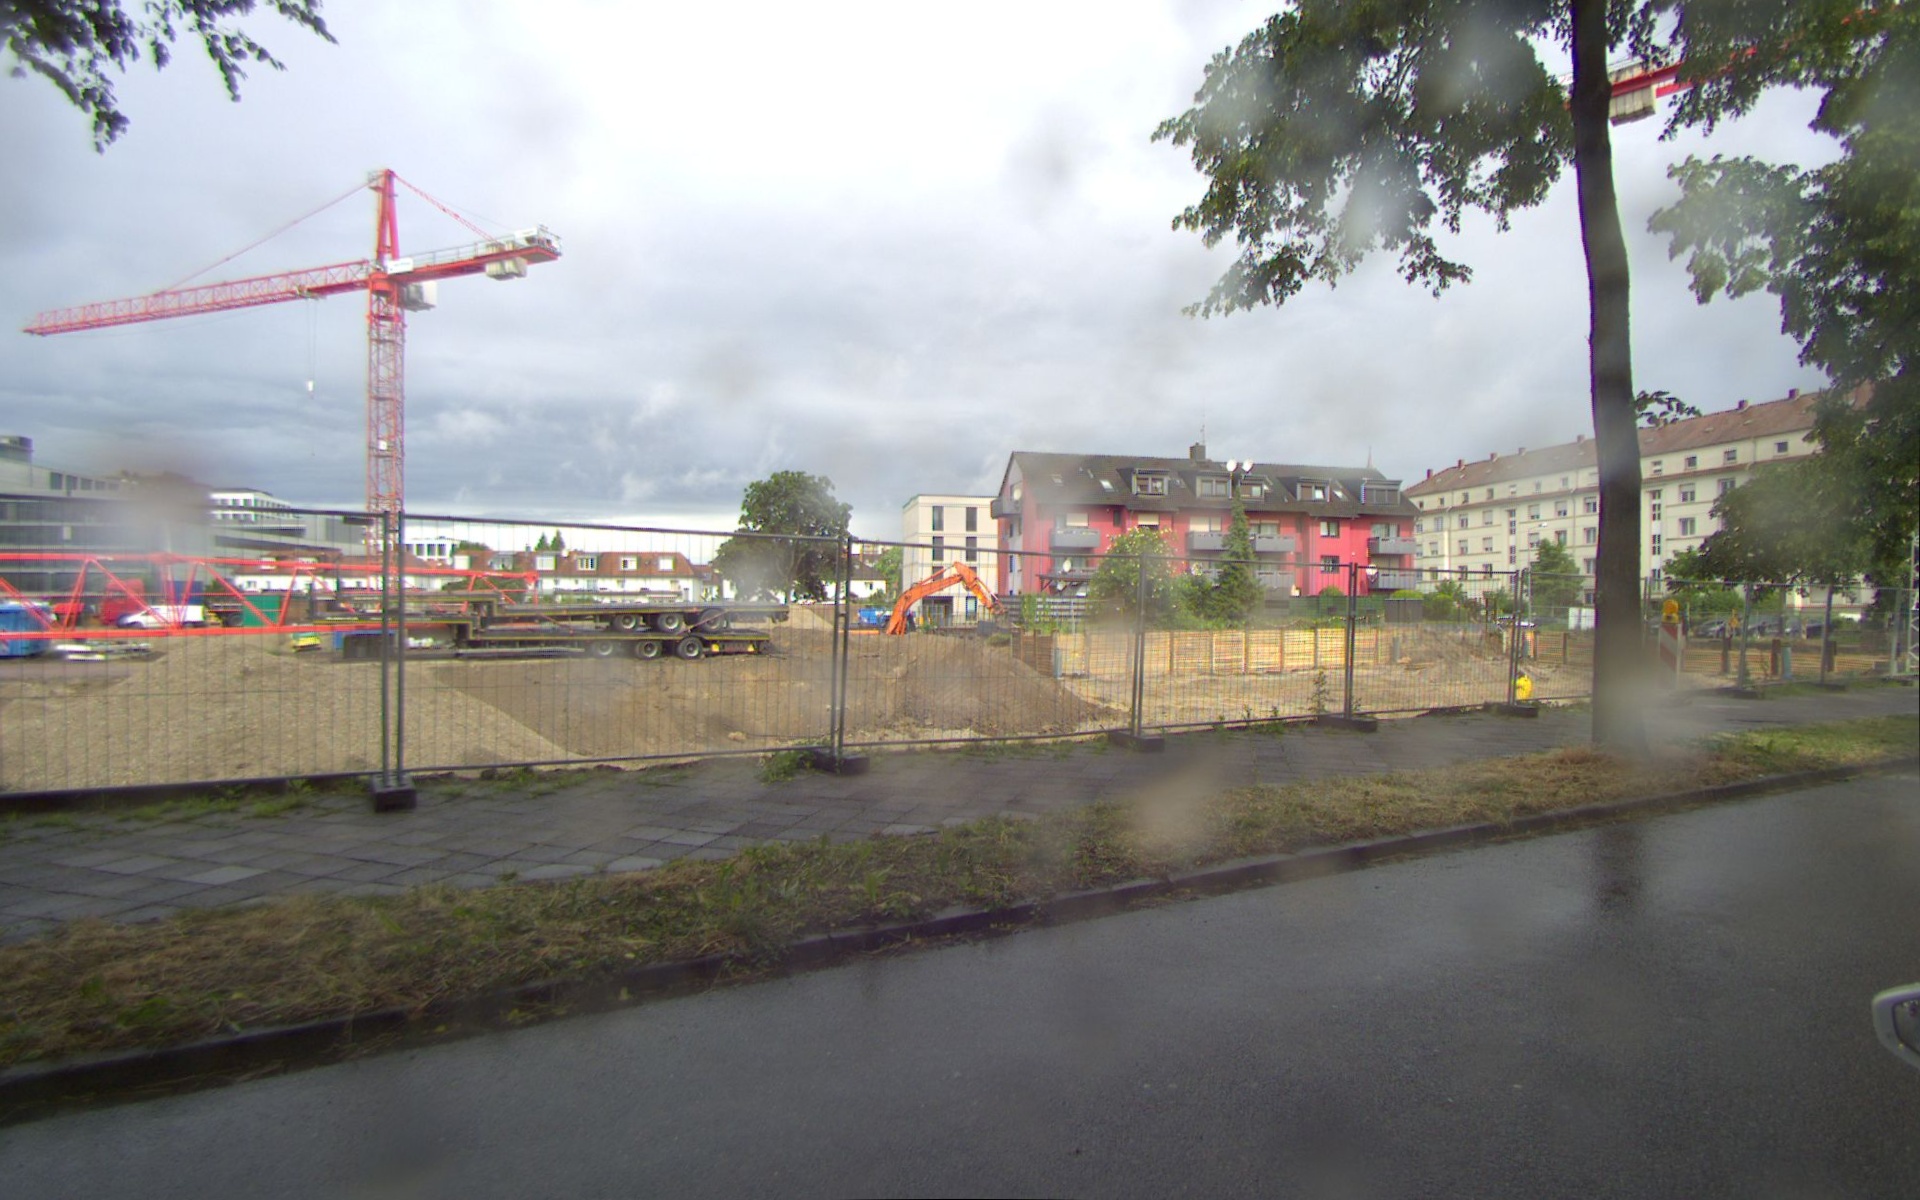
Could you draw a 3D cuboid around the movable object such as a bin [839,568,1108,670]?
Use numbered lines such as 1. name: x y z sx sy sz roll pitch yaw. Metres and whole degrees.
1. movable object such as a bin: 0.614 1.105 64.377 16.430 6.125 6.885 0 0 -6
